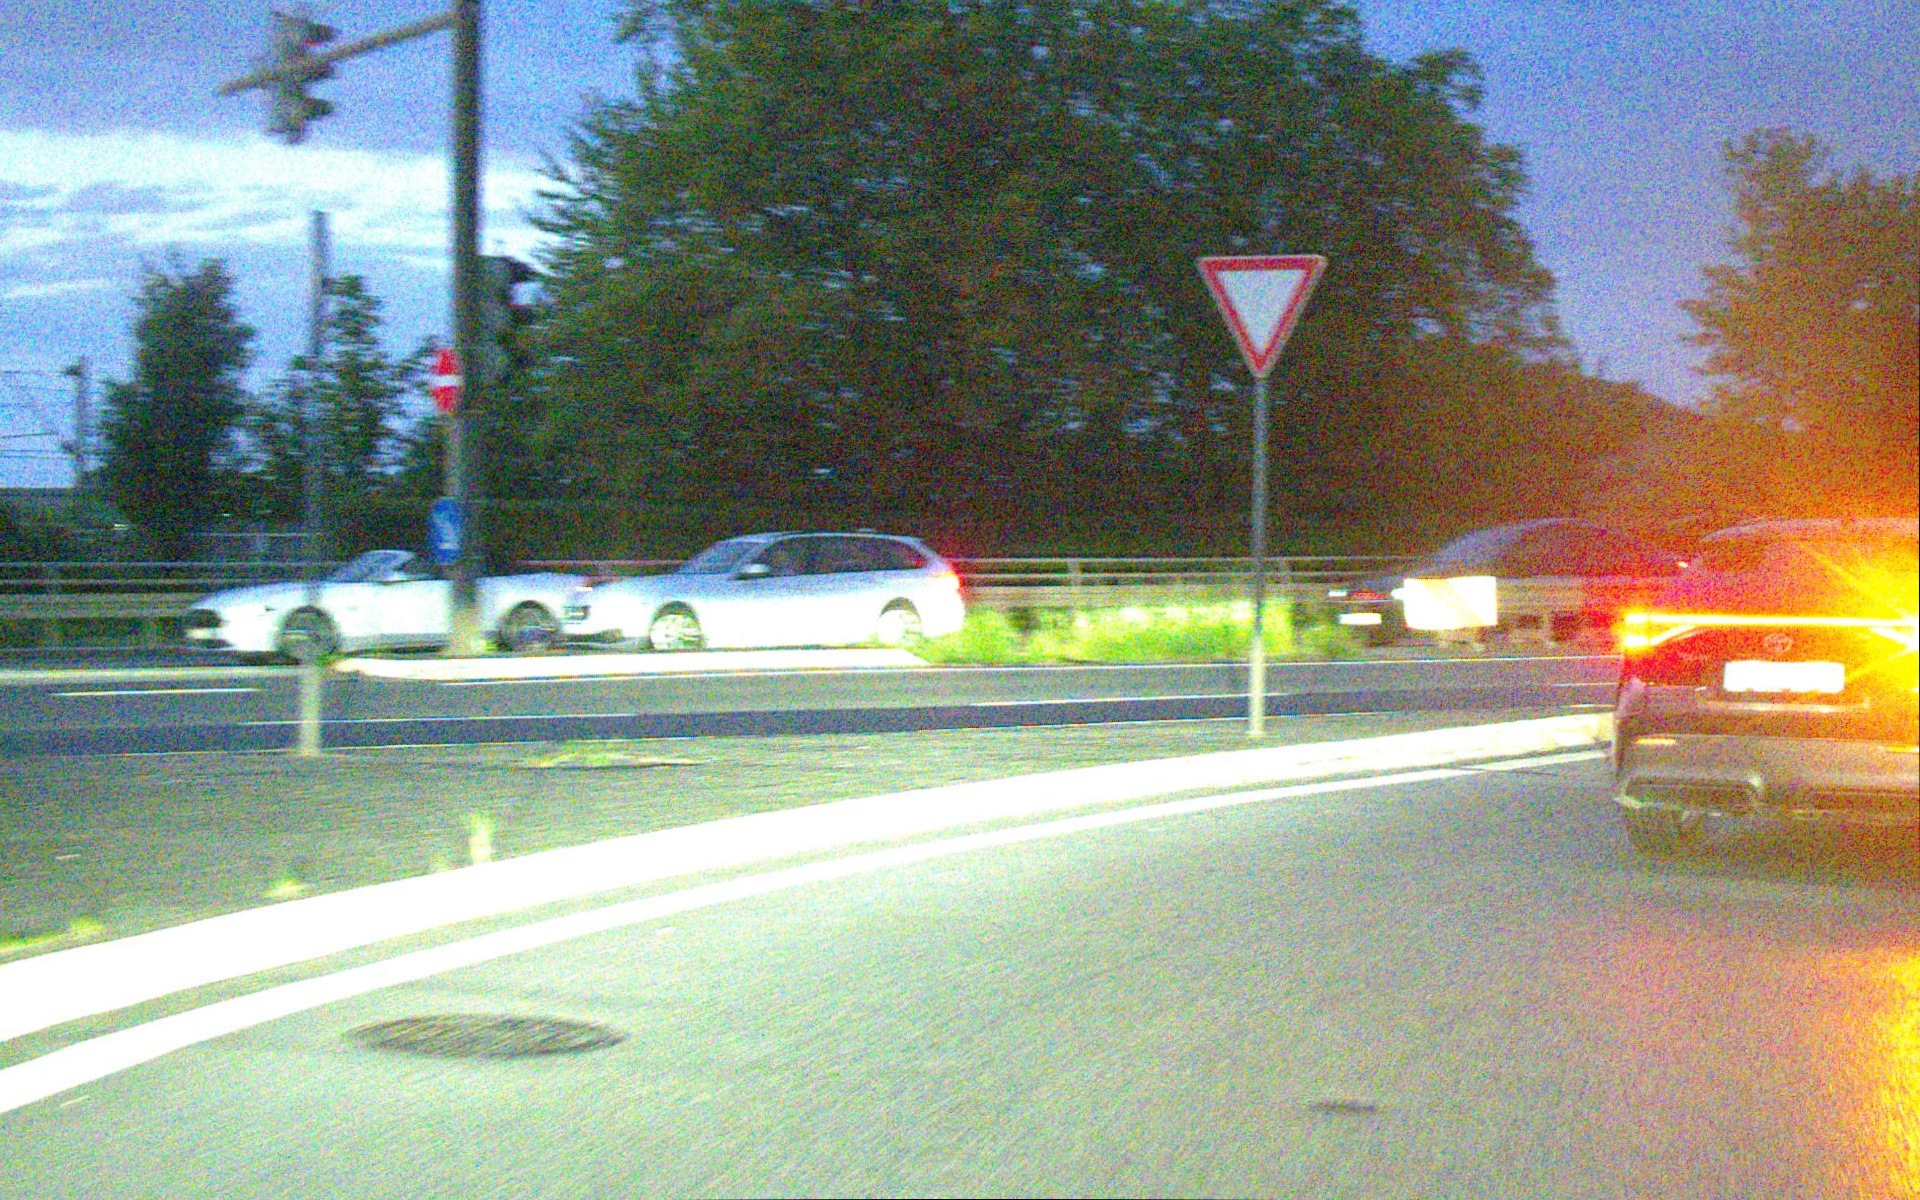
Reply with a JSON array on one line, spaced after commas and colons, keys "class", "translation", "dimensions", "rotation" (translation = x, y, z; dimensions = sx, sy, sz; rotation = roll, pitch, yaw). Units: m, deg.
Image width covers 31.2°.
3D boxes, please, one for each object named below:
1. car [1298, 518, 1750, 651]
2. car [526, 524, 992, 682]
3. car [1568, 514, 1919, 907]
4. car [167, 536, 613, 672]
[{"class": "car", "translation": [6.548, -0.196, 39.711], "dimensions": [5.030, 1.448, 2.000], "rotation": [-1, 0, -31]}, {"class": "car", "translation": [-2.226, 0.043, 38.608], "dimensions": [4.857, 1.676, 2.000], "rotation": [0, 0, -33]}, {"class": "car", "translation": [4.655, 0.429, 16.698], "dimensions": [1.904, 1.614, 4.549], "rotation": [2, 2, 29]}, {"class": "car", "translation": [-6.631, 0.017, 40.160], "dimensions": [4.719, 1.448, 2.000], "rotation": [-1, 1, -32]}]
